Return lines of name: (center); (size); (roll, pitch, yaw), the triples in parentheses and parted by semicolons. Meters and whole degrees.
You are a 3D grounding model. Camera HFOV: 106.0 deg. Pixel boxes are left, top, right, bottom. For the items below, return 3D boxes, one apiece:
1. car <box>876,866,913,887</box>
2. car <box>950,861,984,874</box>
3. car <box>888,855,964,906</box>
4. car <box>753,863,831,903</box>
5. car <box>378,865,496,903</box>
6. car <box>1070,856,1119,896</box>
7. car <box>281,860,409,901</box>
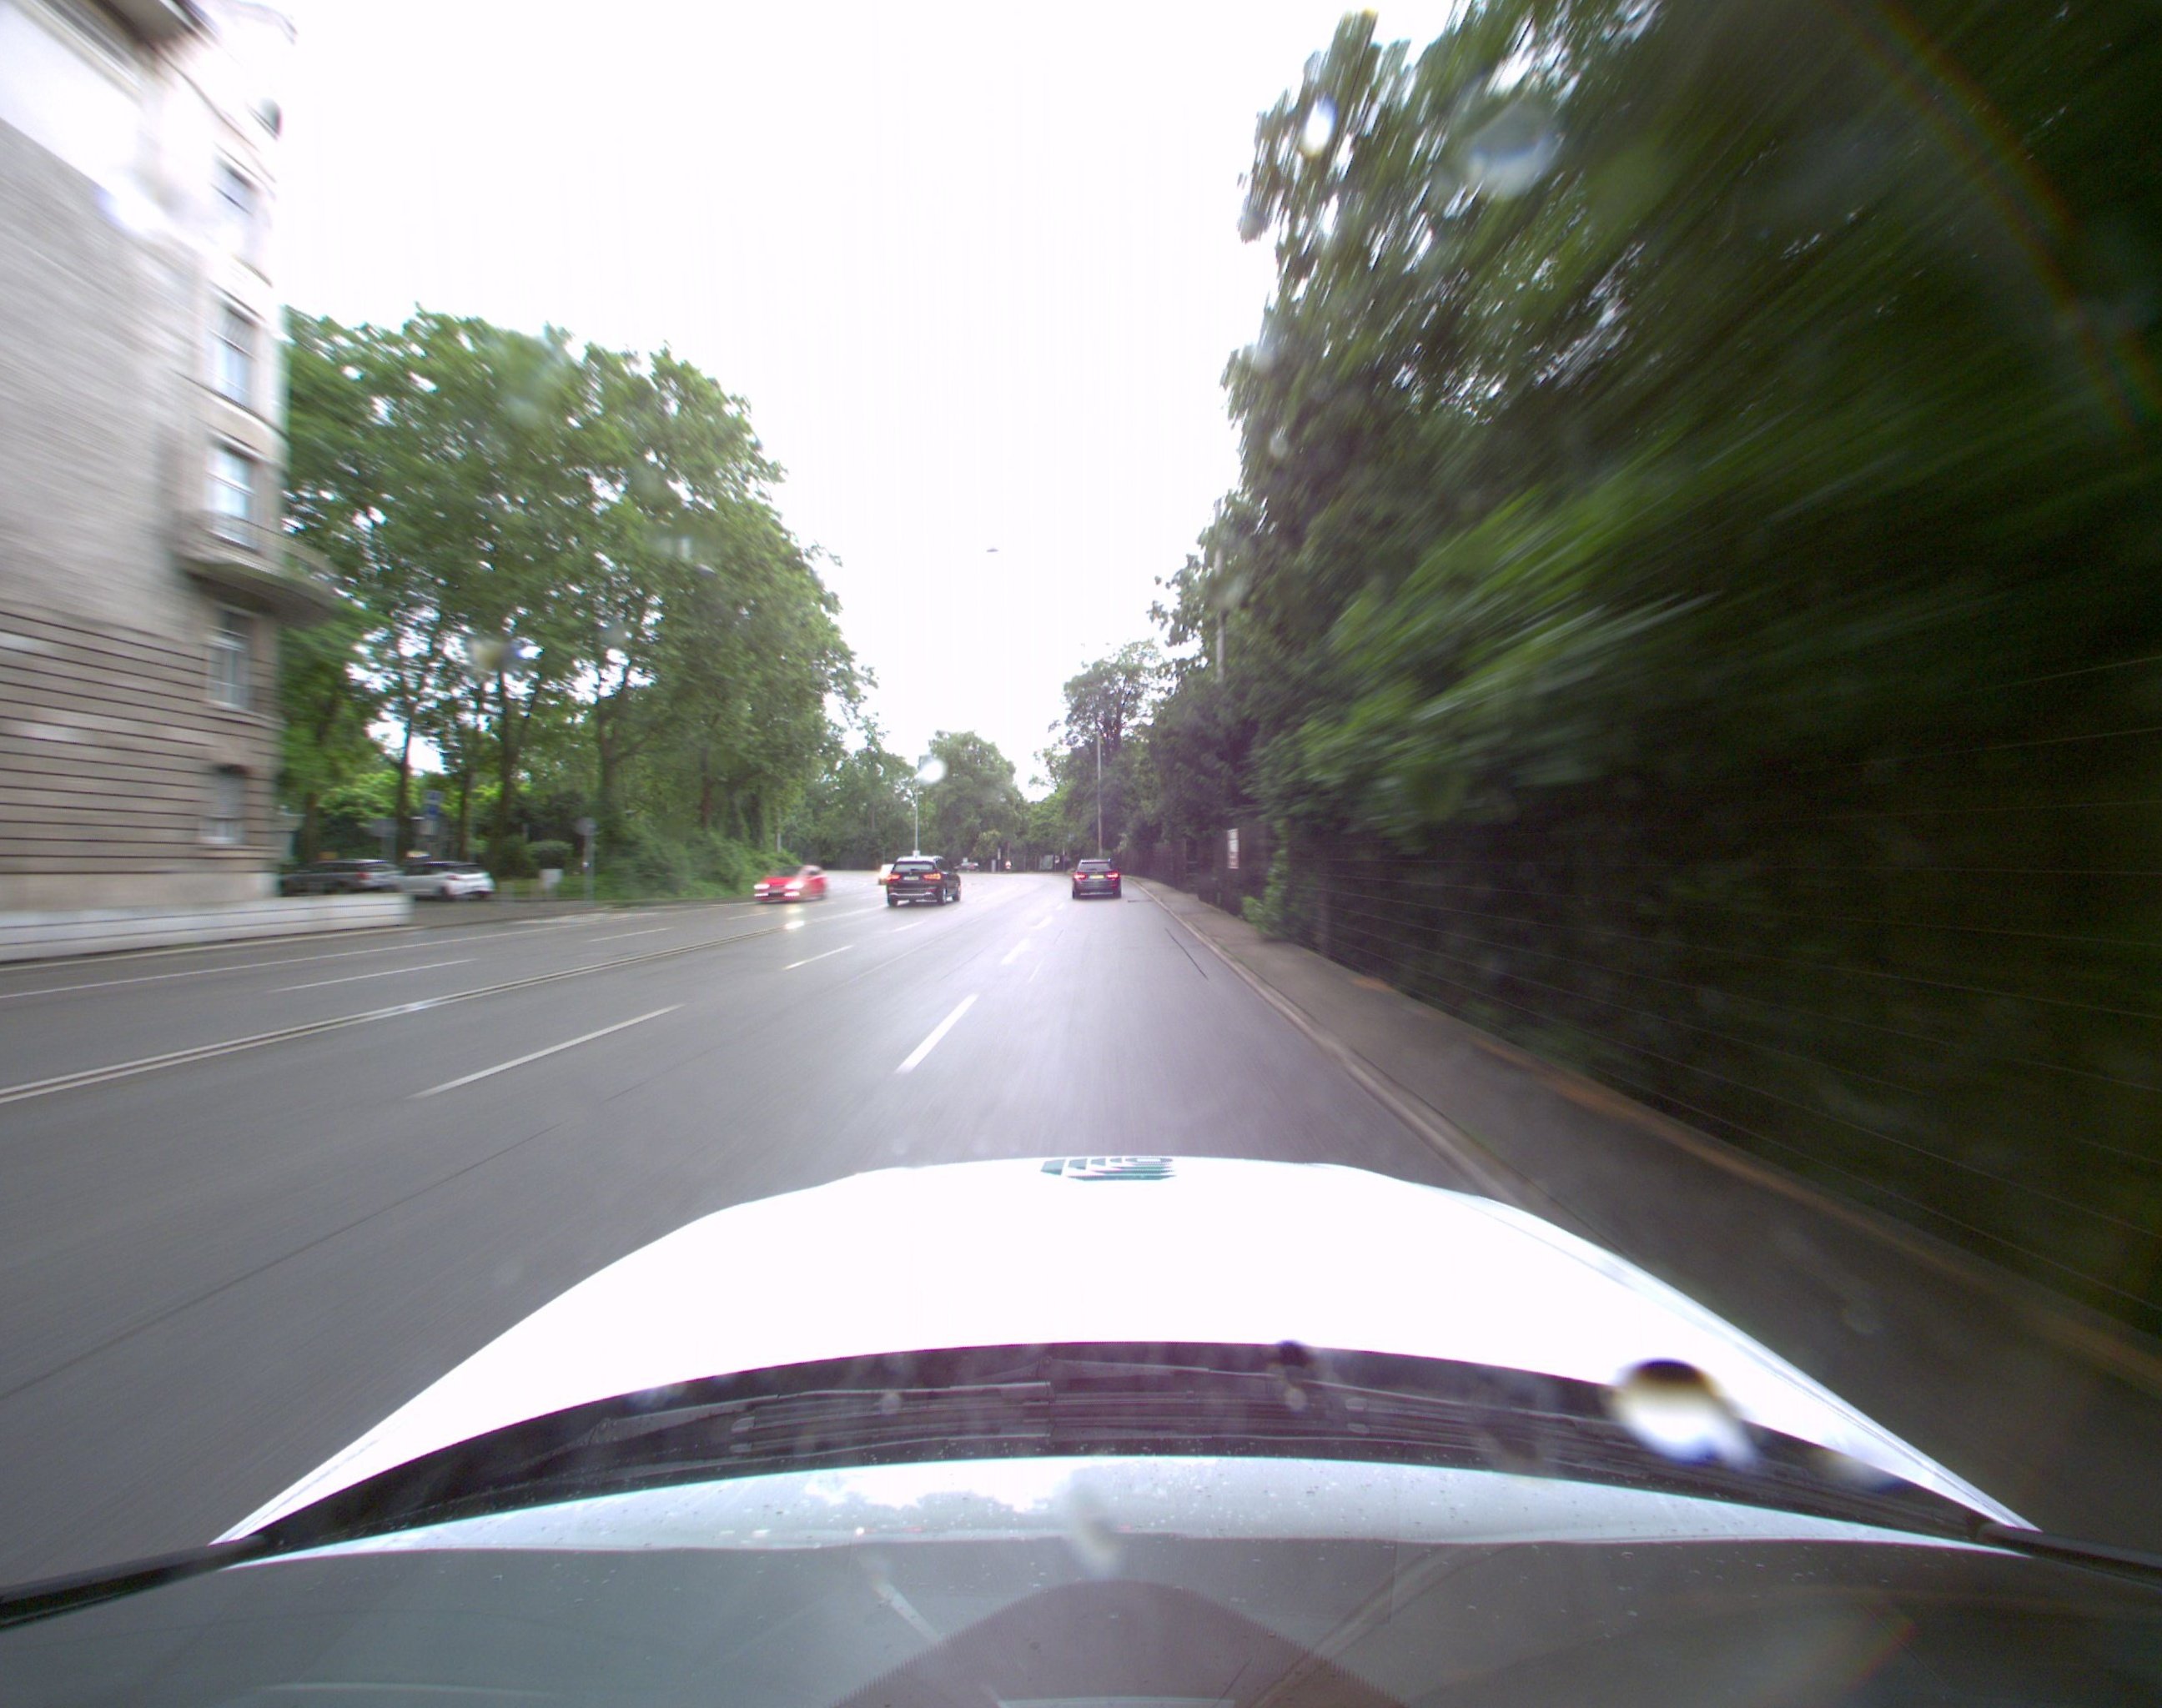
car: (-13.258, 1.587, 58.069); (1.695, 1.339, 3.915); (-1, 0, 0)
car: (-13.903, 1.604, 99.185); (4.316, 1.427, 1.702); (0, -4, 44)
car: (-5.267, 0.857, 28.253); (1.752, 1.586, 4.412); (1, 0, 0)
car: (-11.389, 1.107, 32.382); (1.574, 1.414, 3.963); (-1, 0, 1)
car: (-25.495, 1.182, 32.288); (3.472, 1.376, 1.784); (-1, 1, 11)
car: (0.503, 0.793, 31.077); (1.752, 1.432, 4.412); (0, 0, 0)
car: (-29.627, 1.037, 32.823); (3.790, 1.512, 1.783); (-1, 1, 8)
